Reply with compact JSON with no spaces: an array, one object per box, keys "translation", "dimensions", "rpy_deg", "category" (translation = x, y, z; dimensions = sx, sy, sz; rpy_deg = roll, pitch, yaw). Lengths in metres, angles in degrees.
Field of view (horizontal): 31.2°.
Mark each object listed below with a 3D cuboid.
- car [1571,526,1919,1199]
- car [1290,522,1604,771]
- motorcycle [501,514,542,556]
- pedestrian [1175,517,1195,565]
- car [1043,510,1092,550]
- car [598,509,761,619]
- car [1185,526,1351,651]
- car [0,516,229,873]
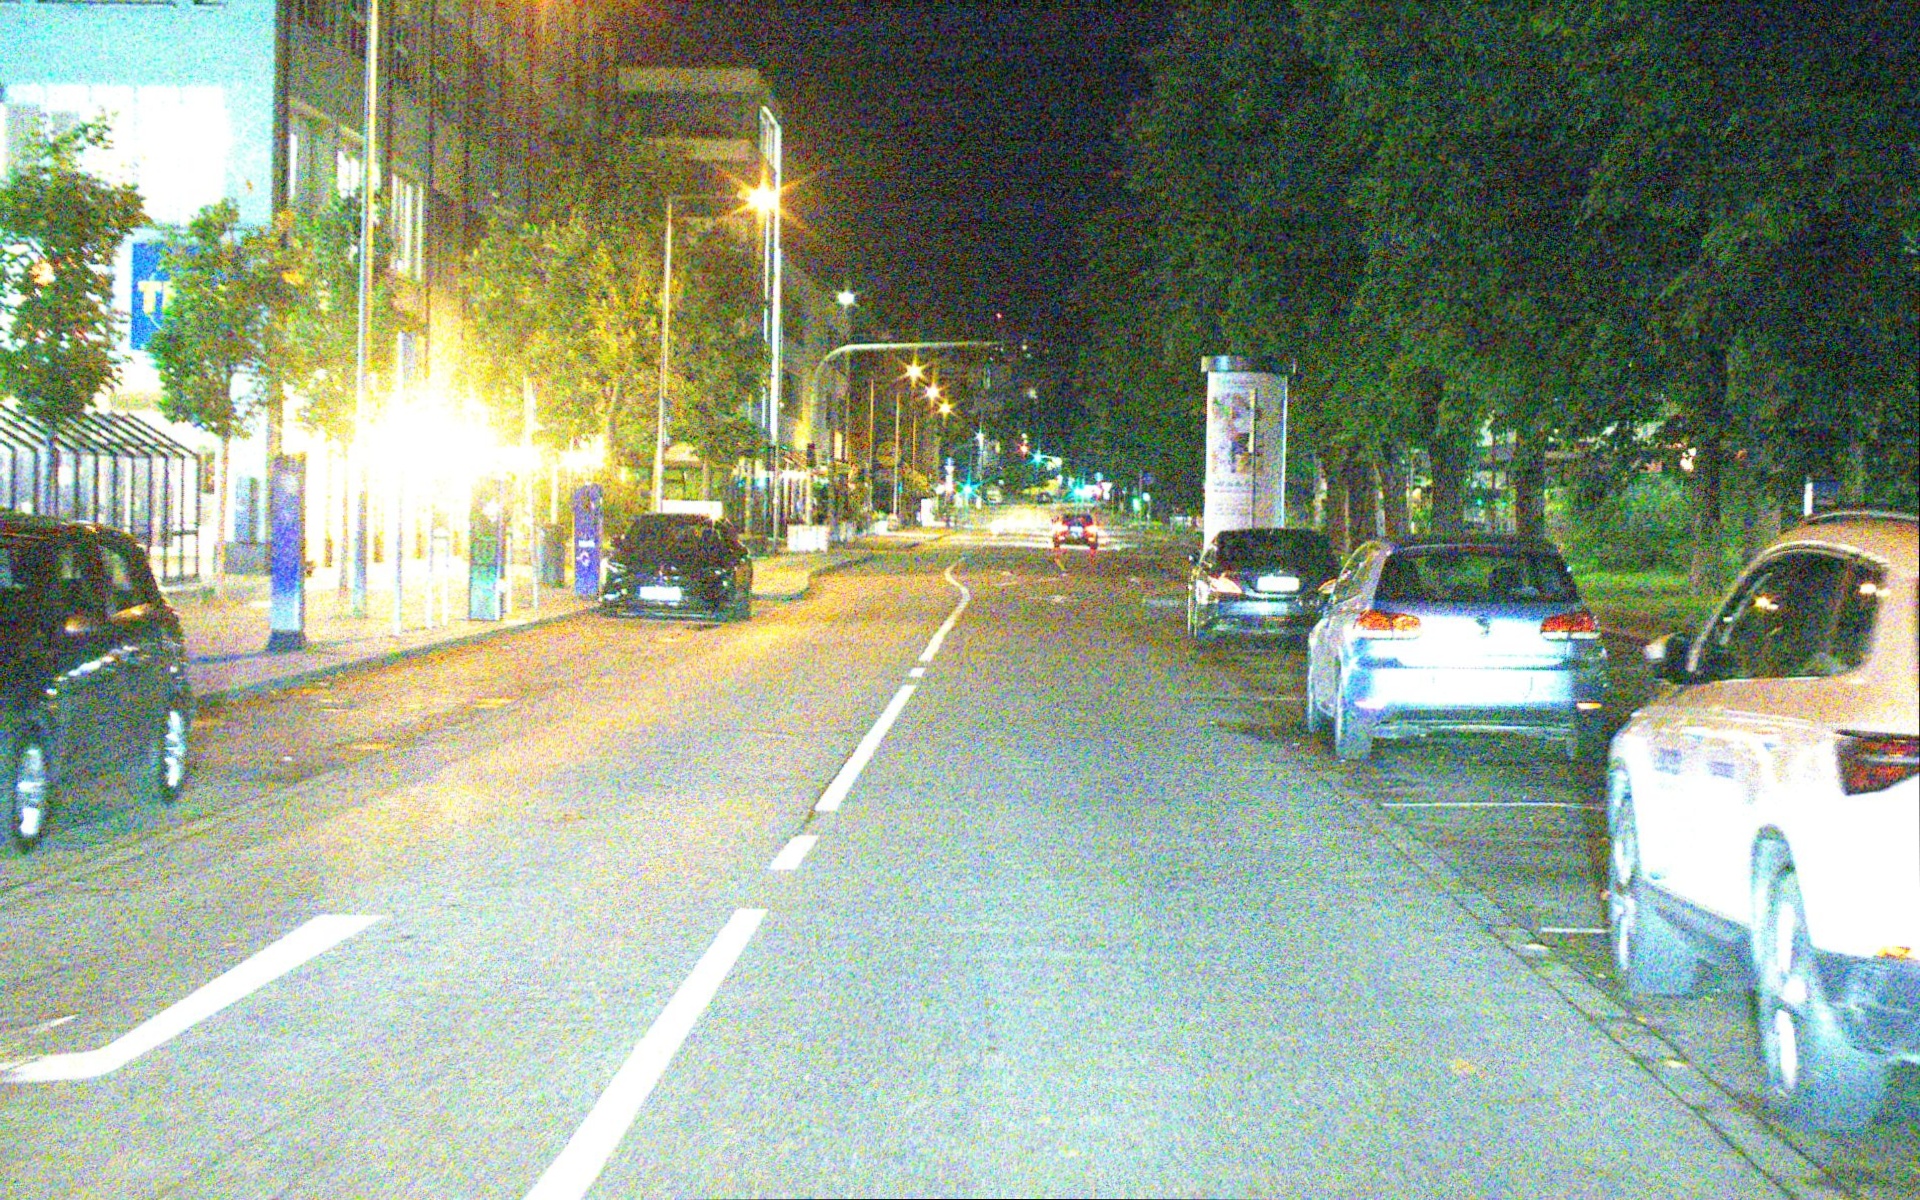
[{"translation":[2.971,0.565,9.930],"dimensions":[1.770,1.531,4.216],"rpy_deg":[-1,1,2],"category":"car"},{"translation":[3.250,0.248,23.586],"dimensions":[1.690,1.531,4.016],"rpy_deg":[-1,1,2],"category":"car"},{"translation":[-10.831,-1.603,84.984],"dimensions":[0.478,1.017,1.674],"rpy_deg":[2,2,12],"category":"motorcycle"},{"translation":[8.457,-2.222,129.292],"dimensions":[0.703,1.812,1.082],"rpy_deg":[1,1,2],"category":"pedestrian"},{"translation":[4.533,-2.968,145.322],"dimensions":[1.993,1.637,4.000],"rpy_deg":[0,1,1],"category":"car"},{"translation":[-3.899,-0.545,48.447],"dimensions":[1.741,1.408,4.495],"rpy_deg":[2,2,2],"category":"car"},{"translation":[3.728,-0.190,42.256],"dimensions":[1.764,1.409,4.807],"rpy_deg":[1,2,2],"category":"car"},{"translation":[-4.782,0.337,16.086],"dimensions":[1.722,1.423,3.976],"rpy_deg":[3,2,1],"category":"car"}]
